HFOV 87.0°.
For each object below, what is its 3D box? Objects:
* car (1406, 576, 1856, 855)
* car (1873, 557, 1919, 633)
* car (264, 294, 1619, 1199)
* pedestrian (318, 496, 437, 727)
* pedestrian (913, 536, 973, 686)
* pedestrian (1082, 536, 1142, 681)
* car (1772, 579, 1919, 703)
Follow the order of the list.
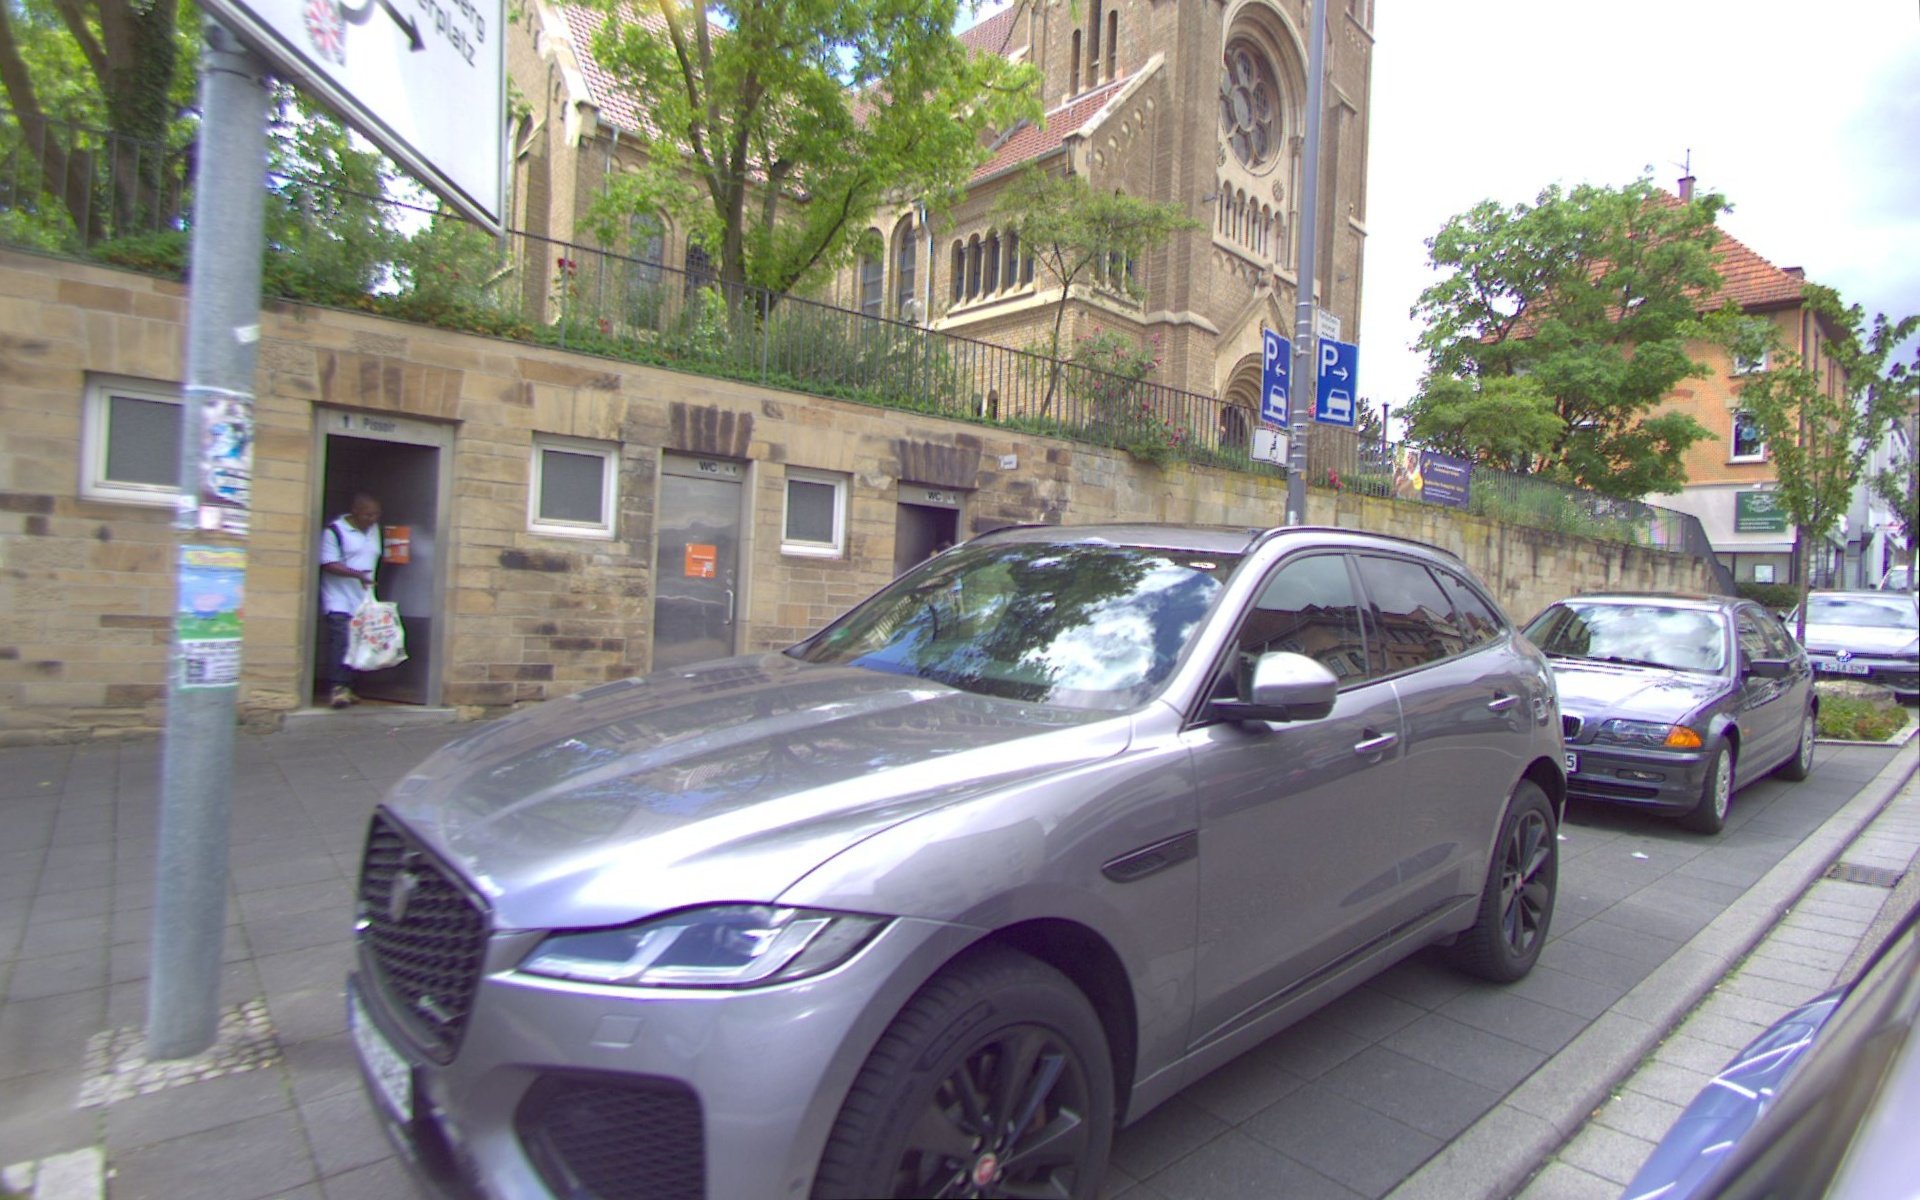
[{"bbox_3d":[5.162,0.581,7.541,4.295,1.434,1.684,-2,3,-41],"label":"car"},{"bbox_3d":[25.524,-0.172,26.237,4.939,1.870,1.890,-2,3,-38],"label":"car"},{"bbox_3d":[0.490,0.477,3.449,4.497,1.746,1.931,0,2,-43],"label":"car"},{"bbox_3d":[-4.682,0.077,8.129,0.748,1.752,0.598,1,2,-35],"label":"pedestrian"},{"bbox_3d":[-0.196,0.109,11.548,0.496,1.666,0.475,-1,2,-31],"label":"pedestrian"},{"bbox_3d":[1.797,0.084,11.998,0.496,1.666,0.475,-1,2,-31],"label":"pedestrian"},{"bbox_3d":[13.038,0.483,14.463,4.023,1.458,1.756,-2,4,-44],"label":"car"}]
